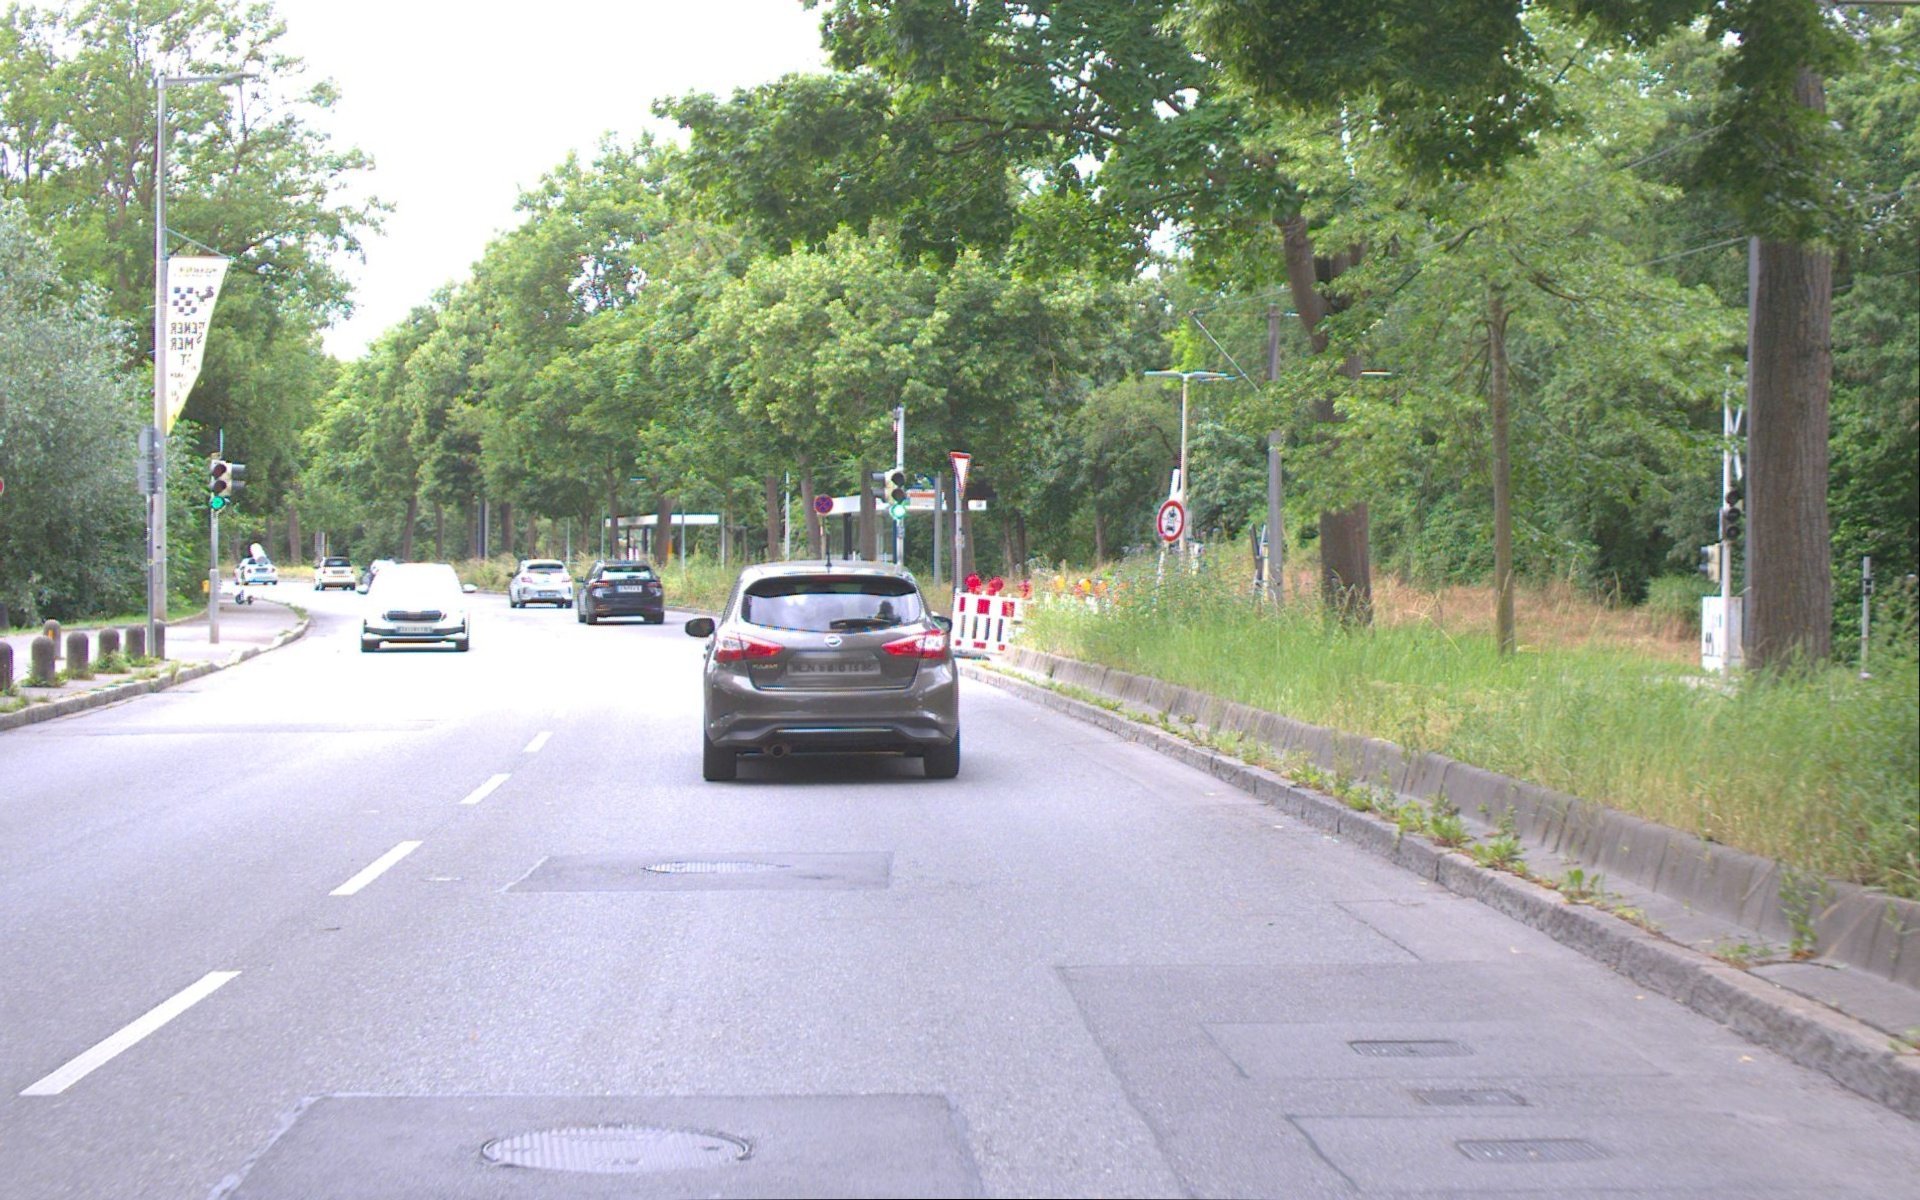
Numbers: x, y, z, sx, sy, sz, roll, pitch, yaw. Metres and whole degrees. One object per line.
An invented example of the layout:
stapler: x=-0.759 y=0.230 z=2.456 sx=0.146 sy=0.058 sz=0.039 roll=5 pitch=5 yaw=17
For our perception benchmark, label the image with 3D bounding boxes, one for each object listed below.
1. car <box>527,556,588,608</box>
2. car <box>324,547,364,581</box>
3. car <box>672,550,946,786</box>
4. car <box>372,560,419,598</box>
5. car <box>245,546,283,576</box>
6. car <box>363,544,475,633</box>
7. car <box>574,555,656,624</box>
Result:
car: x=-12.317 y=-0.574 z=105.181 sx=1.775 sy=1.467 sz=4.001 roll=2 pitch=1 yaw=-7
car: x=-28.490 y=-1.672 z=159.107 sx=1.775 sy=1.467 sz=4.001 roll=1 pitch=1 yaw=-10
car: x=-1.045 y=0.425 z=24.865 sx=1.816 sy=1.503 sz=4.001 roll=0 pitch=2 yaw=-1
car: x=-23.368 y=-0.881 z=142.367 sx=1.775 sy=1.467 sz=4.001 roll=3 pitch=0 yaw=-9
car: x=-36.301 y=-2.043 z=179.215 sx=1.775 sy=1.467 sz=4.001 roll=2 pitch=1 yaw=-13
car: x=-9.195 y=-0.212 z=58.200 sx=1.772 sy=1.434 sz=4.362 roll=-1 pitch=1 yaw=-10
car: x=-7.952 y=-0.265 z=79.272 sx=1.775 sy=1.467 sz=4.001 roll=2 pitch=1 yaw=-6
